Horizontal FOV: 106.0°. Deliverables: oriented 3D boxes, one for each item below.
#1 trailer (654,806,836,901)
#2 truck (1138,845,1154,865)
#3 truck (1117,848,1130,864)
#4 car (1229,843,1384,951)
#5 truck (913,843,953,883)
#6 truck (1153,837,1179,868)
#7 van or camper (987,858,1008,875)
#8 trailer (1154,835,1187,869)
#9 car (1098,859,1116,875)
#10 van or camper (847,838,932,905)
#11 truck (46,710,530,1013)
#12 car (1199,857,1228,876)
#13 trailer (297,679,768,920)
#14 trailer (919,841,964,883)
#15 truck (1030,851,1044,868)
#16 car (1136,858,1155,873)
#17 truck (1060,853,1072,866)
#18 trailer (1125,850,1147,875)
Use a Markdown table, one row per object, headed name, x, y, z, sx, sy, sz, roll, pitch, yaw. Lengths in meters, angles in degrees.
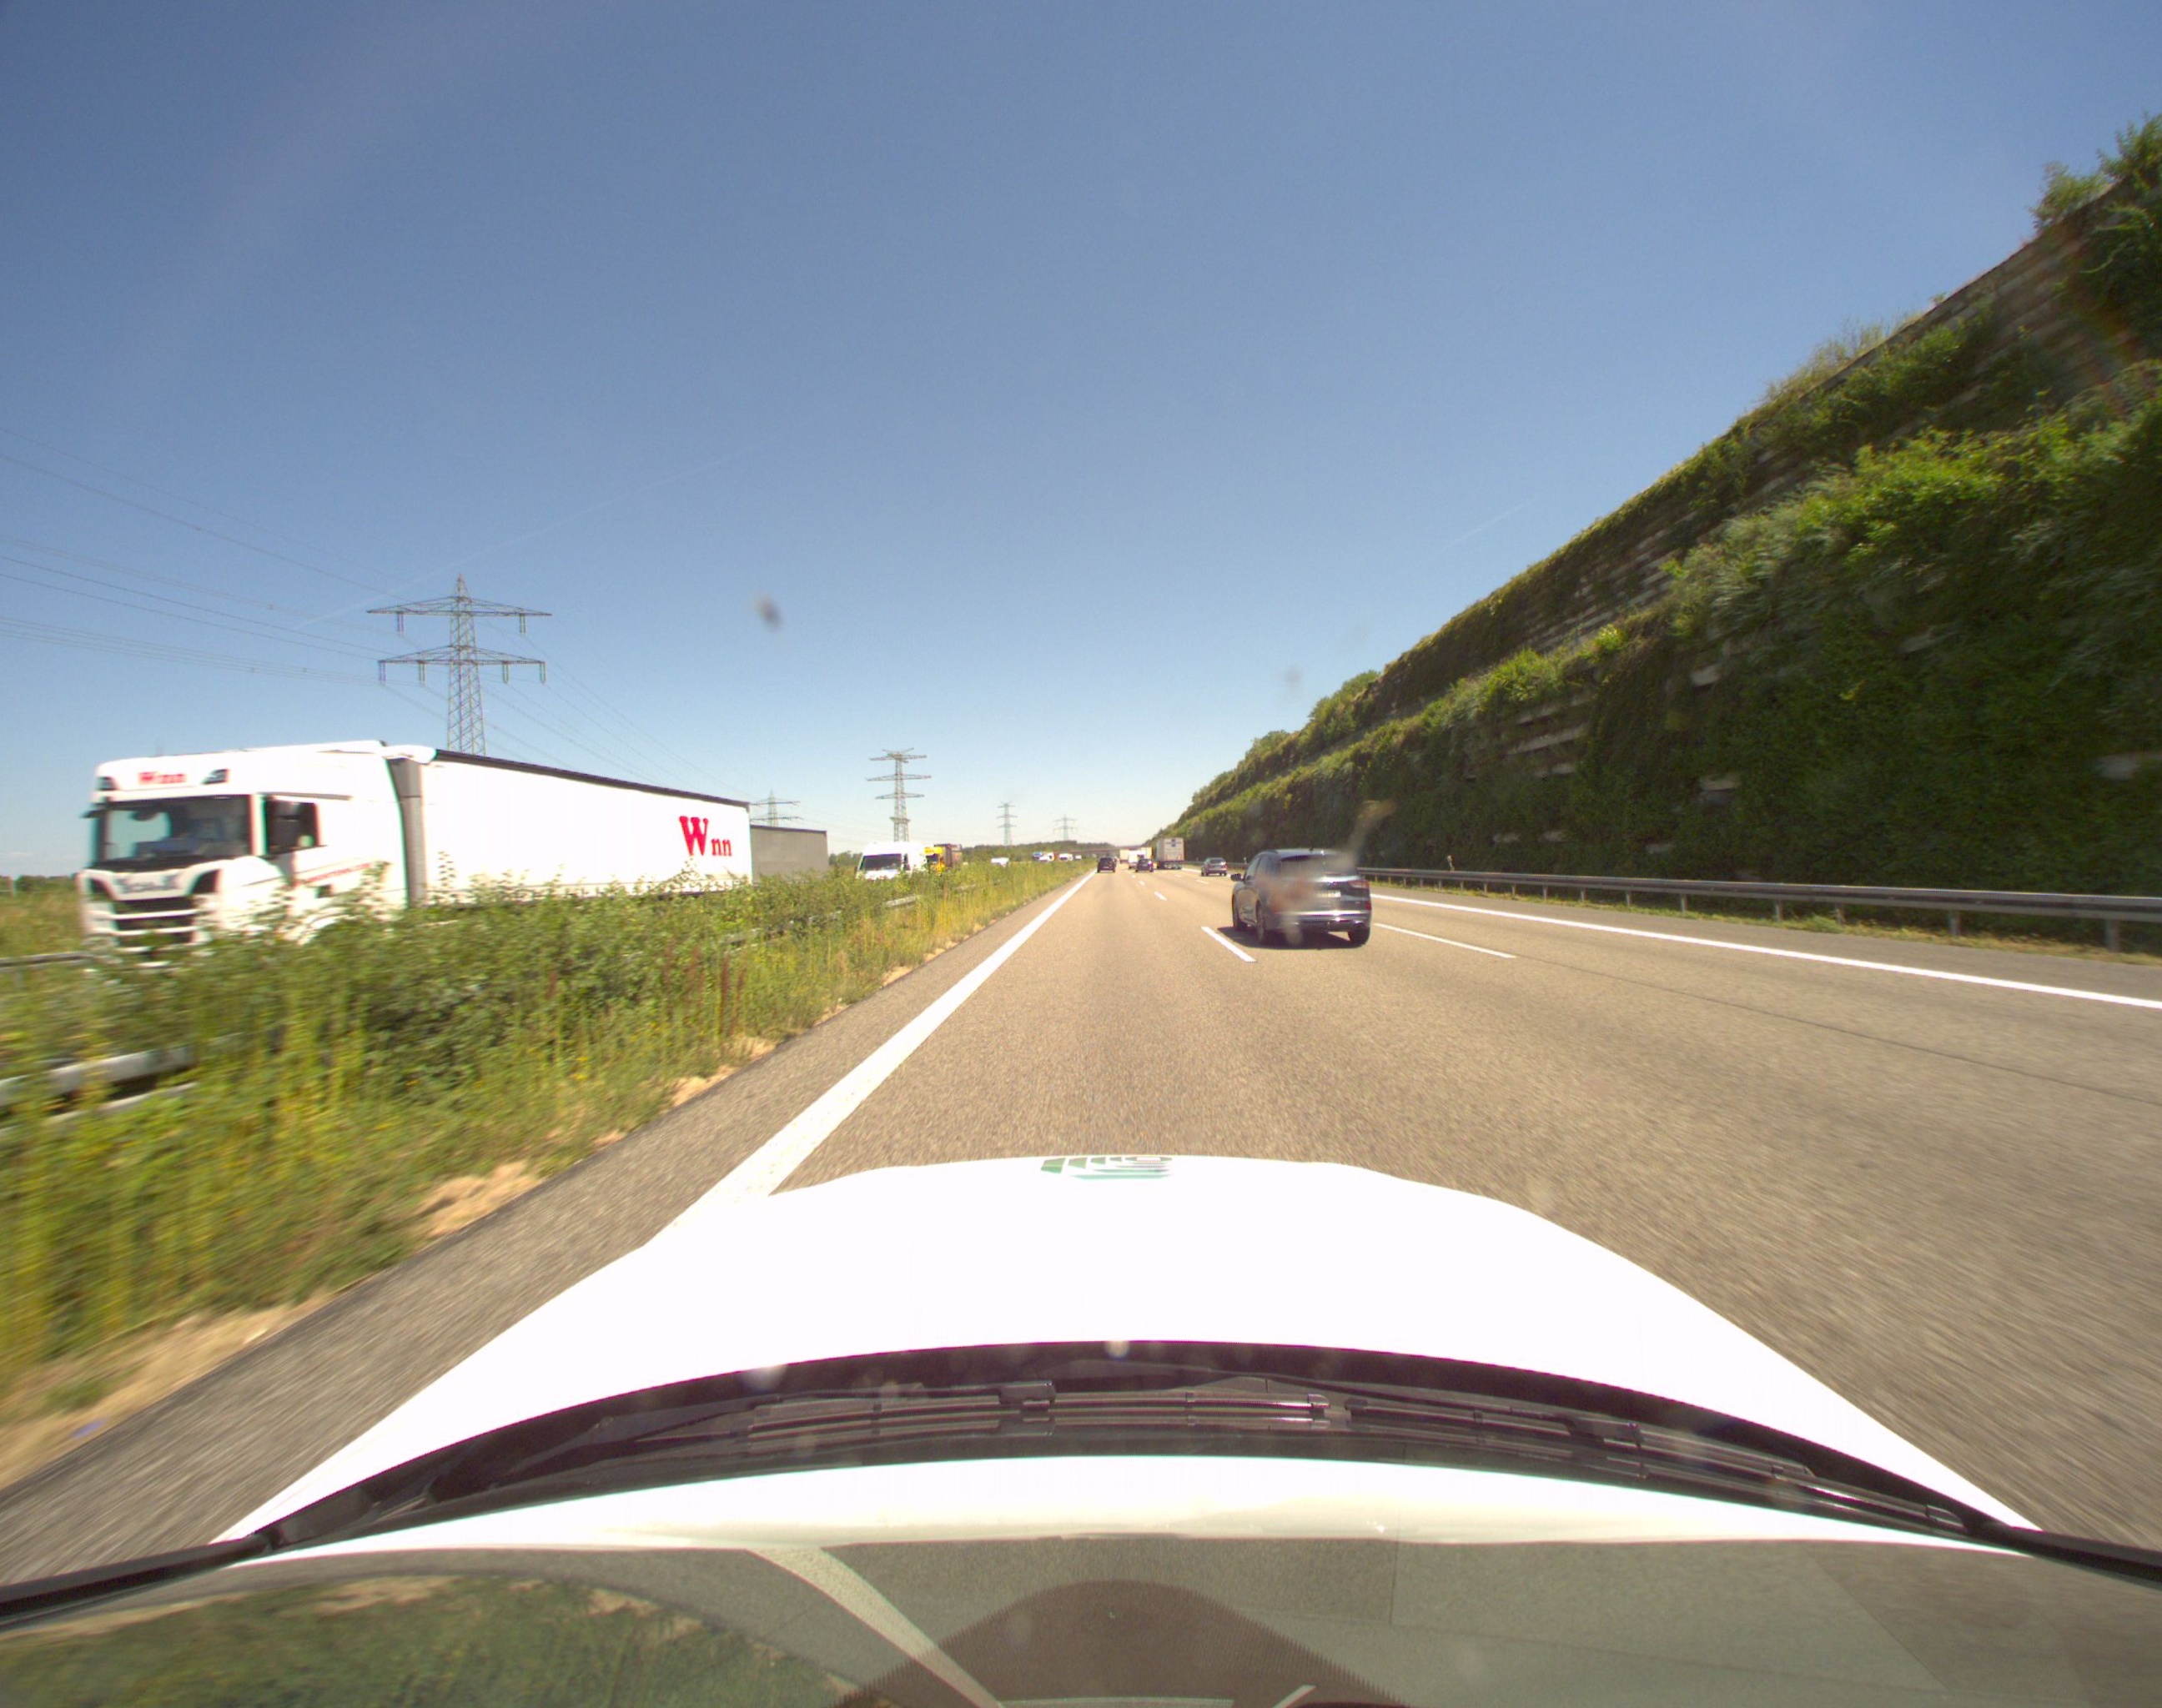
| name | x | y | z | sx | sy | sz | roll | pitch | yaw |
| --- | --- | --- | --- | --- | --- | --- | --- | --- | --- |
| trailer | -15.971 | 0.021 | 40.621 | 2.759 | 3.829 | 14.245 | -1 | 0 | 2 |
| truck | 14.843 | 0.187 | 186.926 | 3.107 | 4.280 | 11.939 | -2 | 0 | 2 |
| truck | 12.306 | 0.583 | 237.359 | 3.396 | 4.280 | 10.612 | -2 | 0 | 2 |
| car | 3.927 | 0.687 | 14.896 | 1.787 | 1.653 | 4.139 | -1 | 0 | 2 |
| truck | -14.719 | 0.920 | 81.366 | 2.715 | 3.727 | 5.648 | -3 | 0 | 1 |
| truck | 11.938 | -0.129 | 114.573 | 3.124 | 4.142 | 5.506 | -2 | -1 | 2 |
| van or camper | -13.151 | 1.983 | 128.722 | 2.434 | 2.518 | 6.486 | -3 | 0 | 2 |
| trailer | 11.695 | -0.226 | 107.556 | 3.171 | 4.121 | 13.437 | -2 | 0 | 2 |
| car | 2.858 | 1.376 | 89.511 | 1.823 | 1.670 | 4.001 | -2 | 0 | 1 |
| van or camper | -8.023 | 0.696 | 34.855 | 1.986 | 2.582 | 6.286 | -1 | 0 | 1 |
| truck | -12.922 | 0.114 | 14.104 | 2.795 | 4.158 | 5.572 | -1 | 0 | 1 |
| car | 10.594 | 1.013 | 65.347 | 1.678 | 1.428 | 4.454 | -1 | 0 | 1 |
| trailer | -12.739 | -0.958 | 21.958 | 2.759 | 4.349 | 14.242 | -1 | 0 | 1 |
| trailer | -14.566 | 0.850 | 85.856 | 2.726 | 4.045 | 9.427 | -3 | 0 | 2 |
| truck | -10.553 | 1.405 | 196.325 | 2.852 | 3.907 | 5.623 | -2 | 0 | 2 |
| car | 6.903 | 1.224 | 87.098 | 1.822 | 1.525 | 4.002 | -2 | 0 | 2 |
| truck | -4.163 | 1.498 | 230.906 | 2.926 | 3.413 | 9.368 | -3 | 0 | 1 |
| trailer | 7.643 | 1.151 | 114.523 | 2.601 | 3.213 | 9.955 | -2 | 0 | 1 |
